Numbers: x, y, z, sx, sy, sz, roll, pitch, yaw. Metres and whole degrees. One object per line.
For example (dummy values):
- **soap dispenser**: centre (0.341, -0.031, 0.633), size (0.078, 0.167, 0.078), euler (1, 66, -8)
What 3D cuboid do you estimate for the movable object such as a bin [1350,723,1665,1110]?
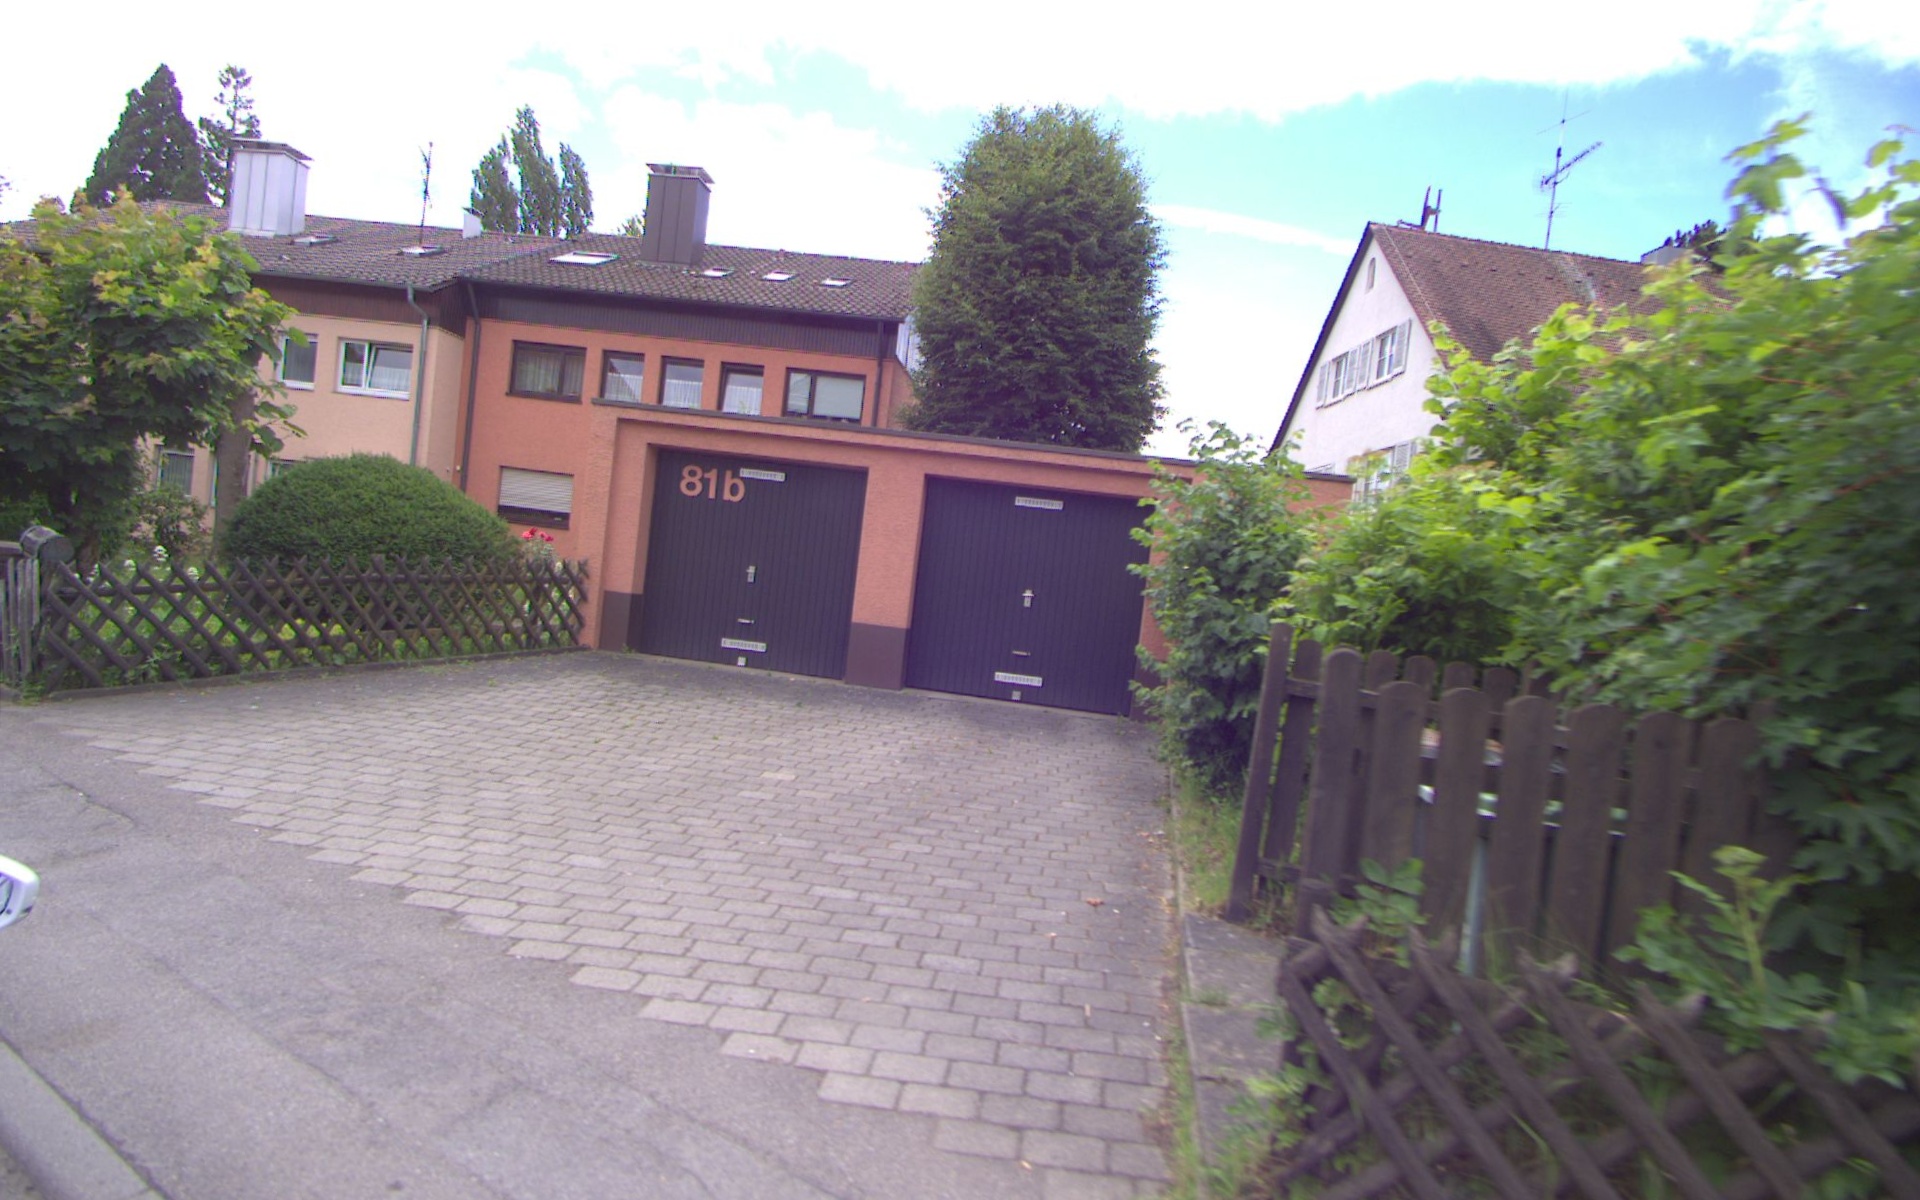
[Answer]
- **movable object such as a bin**: centre (1.673, 0.947, 3.171), size (0.673, 0.970, 0.447), euler (7, 4, 15)

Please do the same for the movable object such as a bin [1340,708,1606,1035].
- **movable object such as a bin**: centre (1.828, 0.950, 3.672), size (0.673, 0.970, 0.447), euler (7, 4, 15)

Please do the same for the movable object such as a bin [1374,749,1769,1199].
- **movable object such as a bin**: centre (1.568, 0.962, 2.684), size (0.673, 0.970, 0.447), euler (6, 4, 11)
